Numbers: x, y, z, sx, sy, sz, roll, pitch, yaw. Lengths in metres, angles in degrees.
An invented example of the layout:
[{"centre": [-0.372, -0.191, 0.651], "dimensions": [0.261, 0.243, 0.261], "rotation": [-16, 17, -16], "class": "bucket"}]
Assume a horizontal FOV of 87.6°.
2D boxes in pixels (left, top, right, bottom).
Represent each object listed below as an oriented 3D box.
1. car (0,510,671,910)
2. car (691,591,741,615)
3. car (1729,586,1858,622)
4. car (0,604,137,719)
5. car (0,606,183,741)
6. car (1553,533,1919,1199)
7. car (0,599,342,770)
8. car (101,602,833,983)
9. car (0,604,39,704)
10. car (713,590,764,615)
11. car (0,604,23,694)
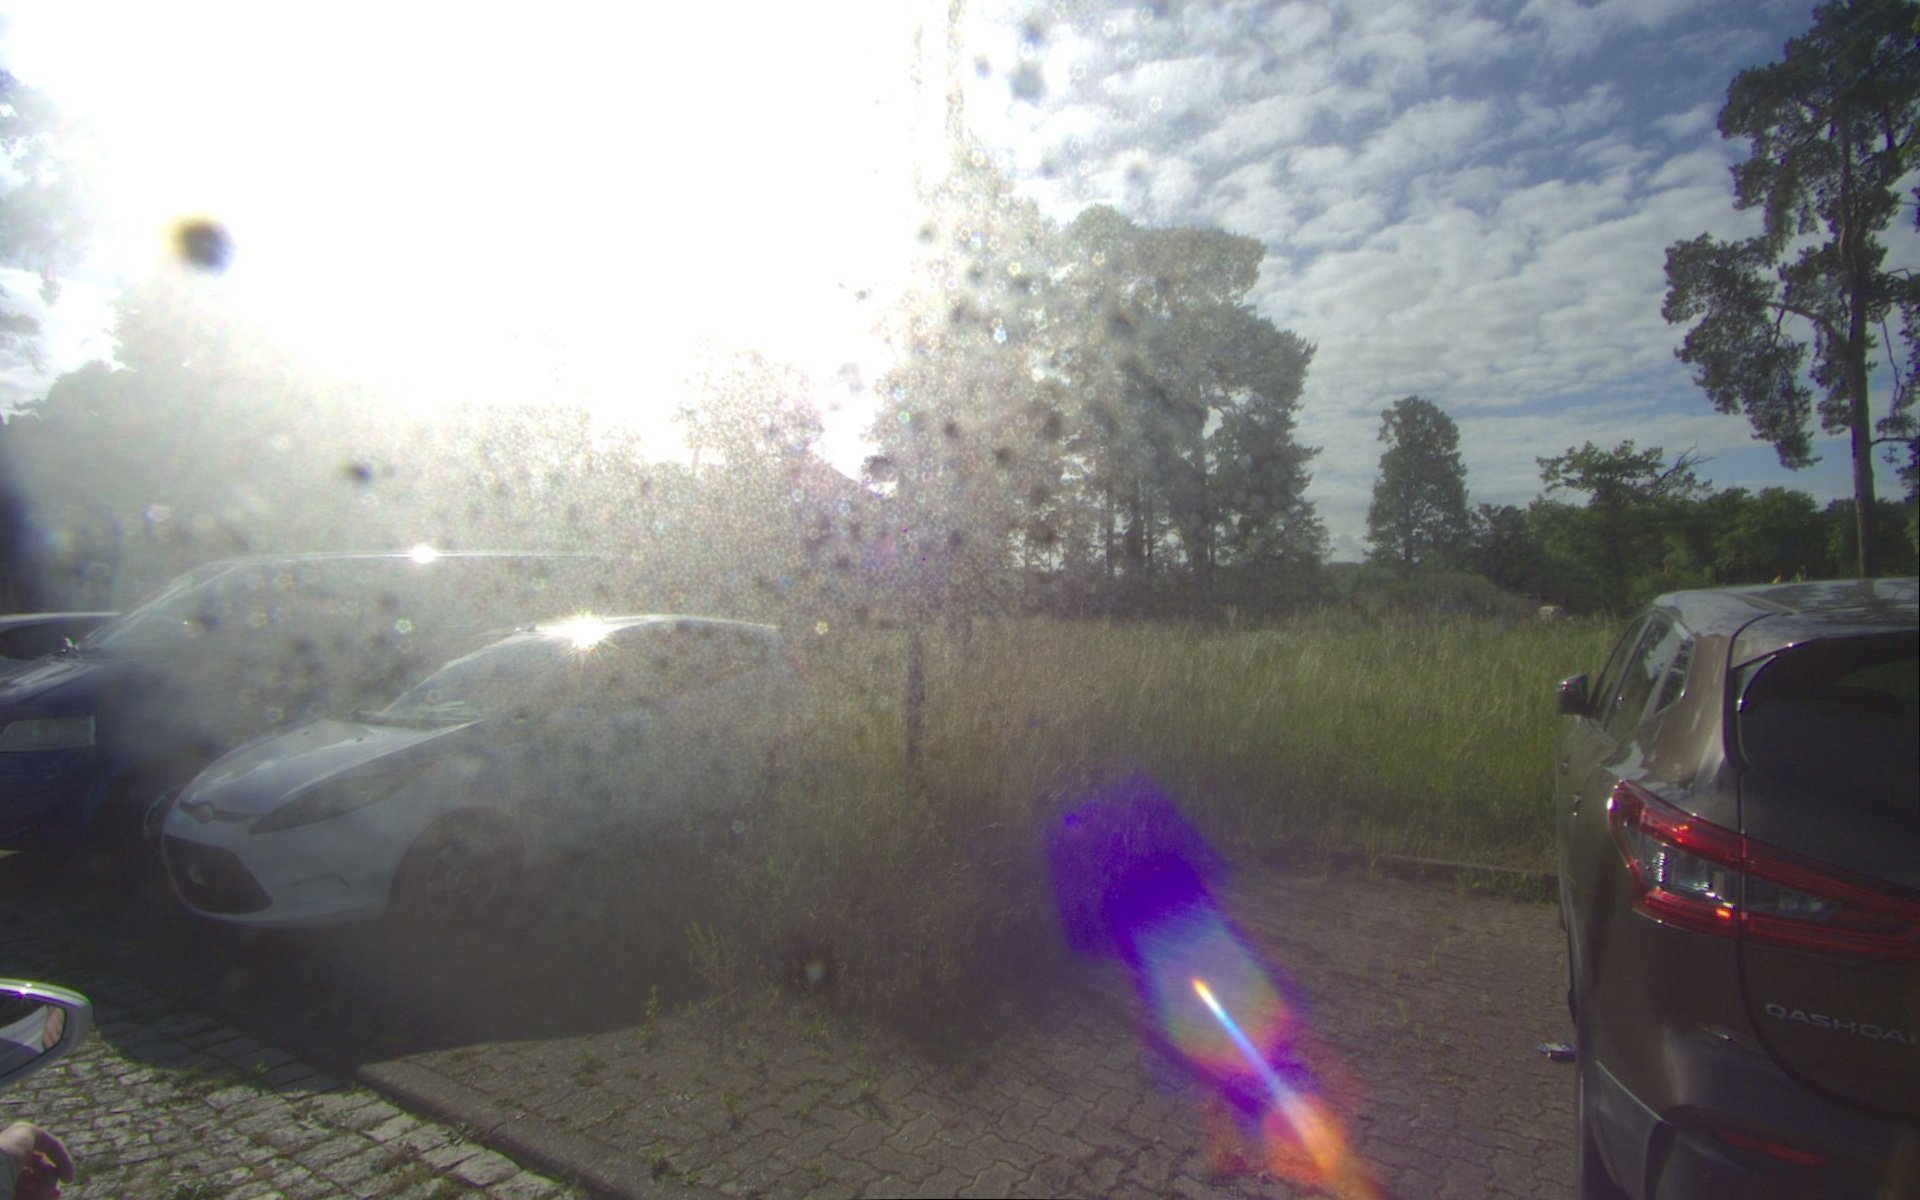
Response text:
[{"centre": [-4.667, 0.568, 7.621], "dimensions": [2.052, 2.040, 4.671], "rotation": [0, 0, 29], "class": "car"}, {"centre": [-21.045, 0.287, 86.453], "dimensions": [1.971, 2.040, 3.979], "rotation": [0, 0, 32], "class": "car"}, {"centre": [53.276, 0.314, 64.184], "dimensions": [2.337, 2.199, 5.996], "rotation": [0, -1, -23], "class": "car"}, {"centre": [-13.691, 0.827, 13.651], "dimensions": [1.621, 1.549, 3.472], "rotation": [0, 0, 31], "class": "car"}, {"centre": [-11.562, 0.846, 11.626], "dimensions": [1.621, 1.487, 3.668], "rotation": [0, 1, 31], "class": "car"}, {"centre": [2.773, 0.727, 2.950], "dimensions": [1.746, 1.643, 3.929], "rotation": [0, 0, 31], "class": "car"}, {"centre": [-8.887, 0.789, 10.538], "dimensions": [1.622, 1.486, 3.684], "rotation": [0, 2, 33], "class": "car"}, {"centre": [-2.544, 0.784, 6.076], "dimensions": [1.620, 1.508, 3.713], "rotation": [0, 1, 30], "class": "car"}, {"centre": [-16.131, 0.833, 14.750], "dimensions": [1.621, 1.549, 3.472], "rotation": [0, 0, 31], "class": "car"}, {"centre": [-18.761, 0.204, 84.981], "dimensions": [1.971, 2.040, 3.979], "rotation": [0, 0, 32], "class": "car"}, {"centre": [-17.911, 0.843, 16.288], "dimensions": [1.621, 1.549, 3.597], "rotation": [0, 0, 31], "class": "car"}]
